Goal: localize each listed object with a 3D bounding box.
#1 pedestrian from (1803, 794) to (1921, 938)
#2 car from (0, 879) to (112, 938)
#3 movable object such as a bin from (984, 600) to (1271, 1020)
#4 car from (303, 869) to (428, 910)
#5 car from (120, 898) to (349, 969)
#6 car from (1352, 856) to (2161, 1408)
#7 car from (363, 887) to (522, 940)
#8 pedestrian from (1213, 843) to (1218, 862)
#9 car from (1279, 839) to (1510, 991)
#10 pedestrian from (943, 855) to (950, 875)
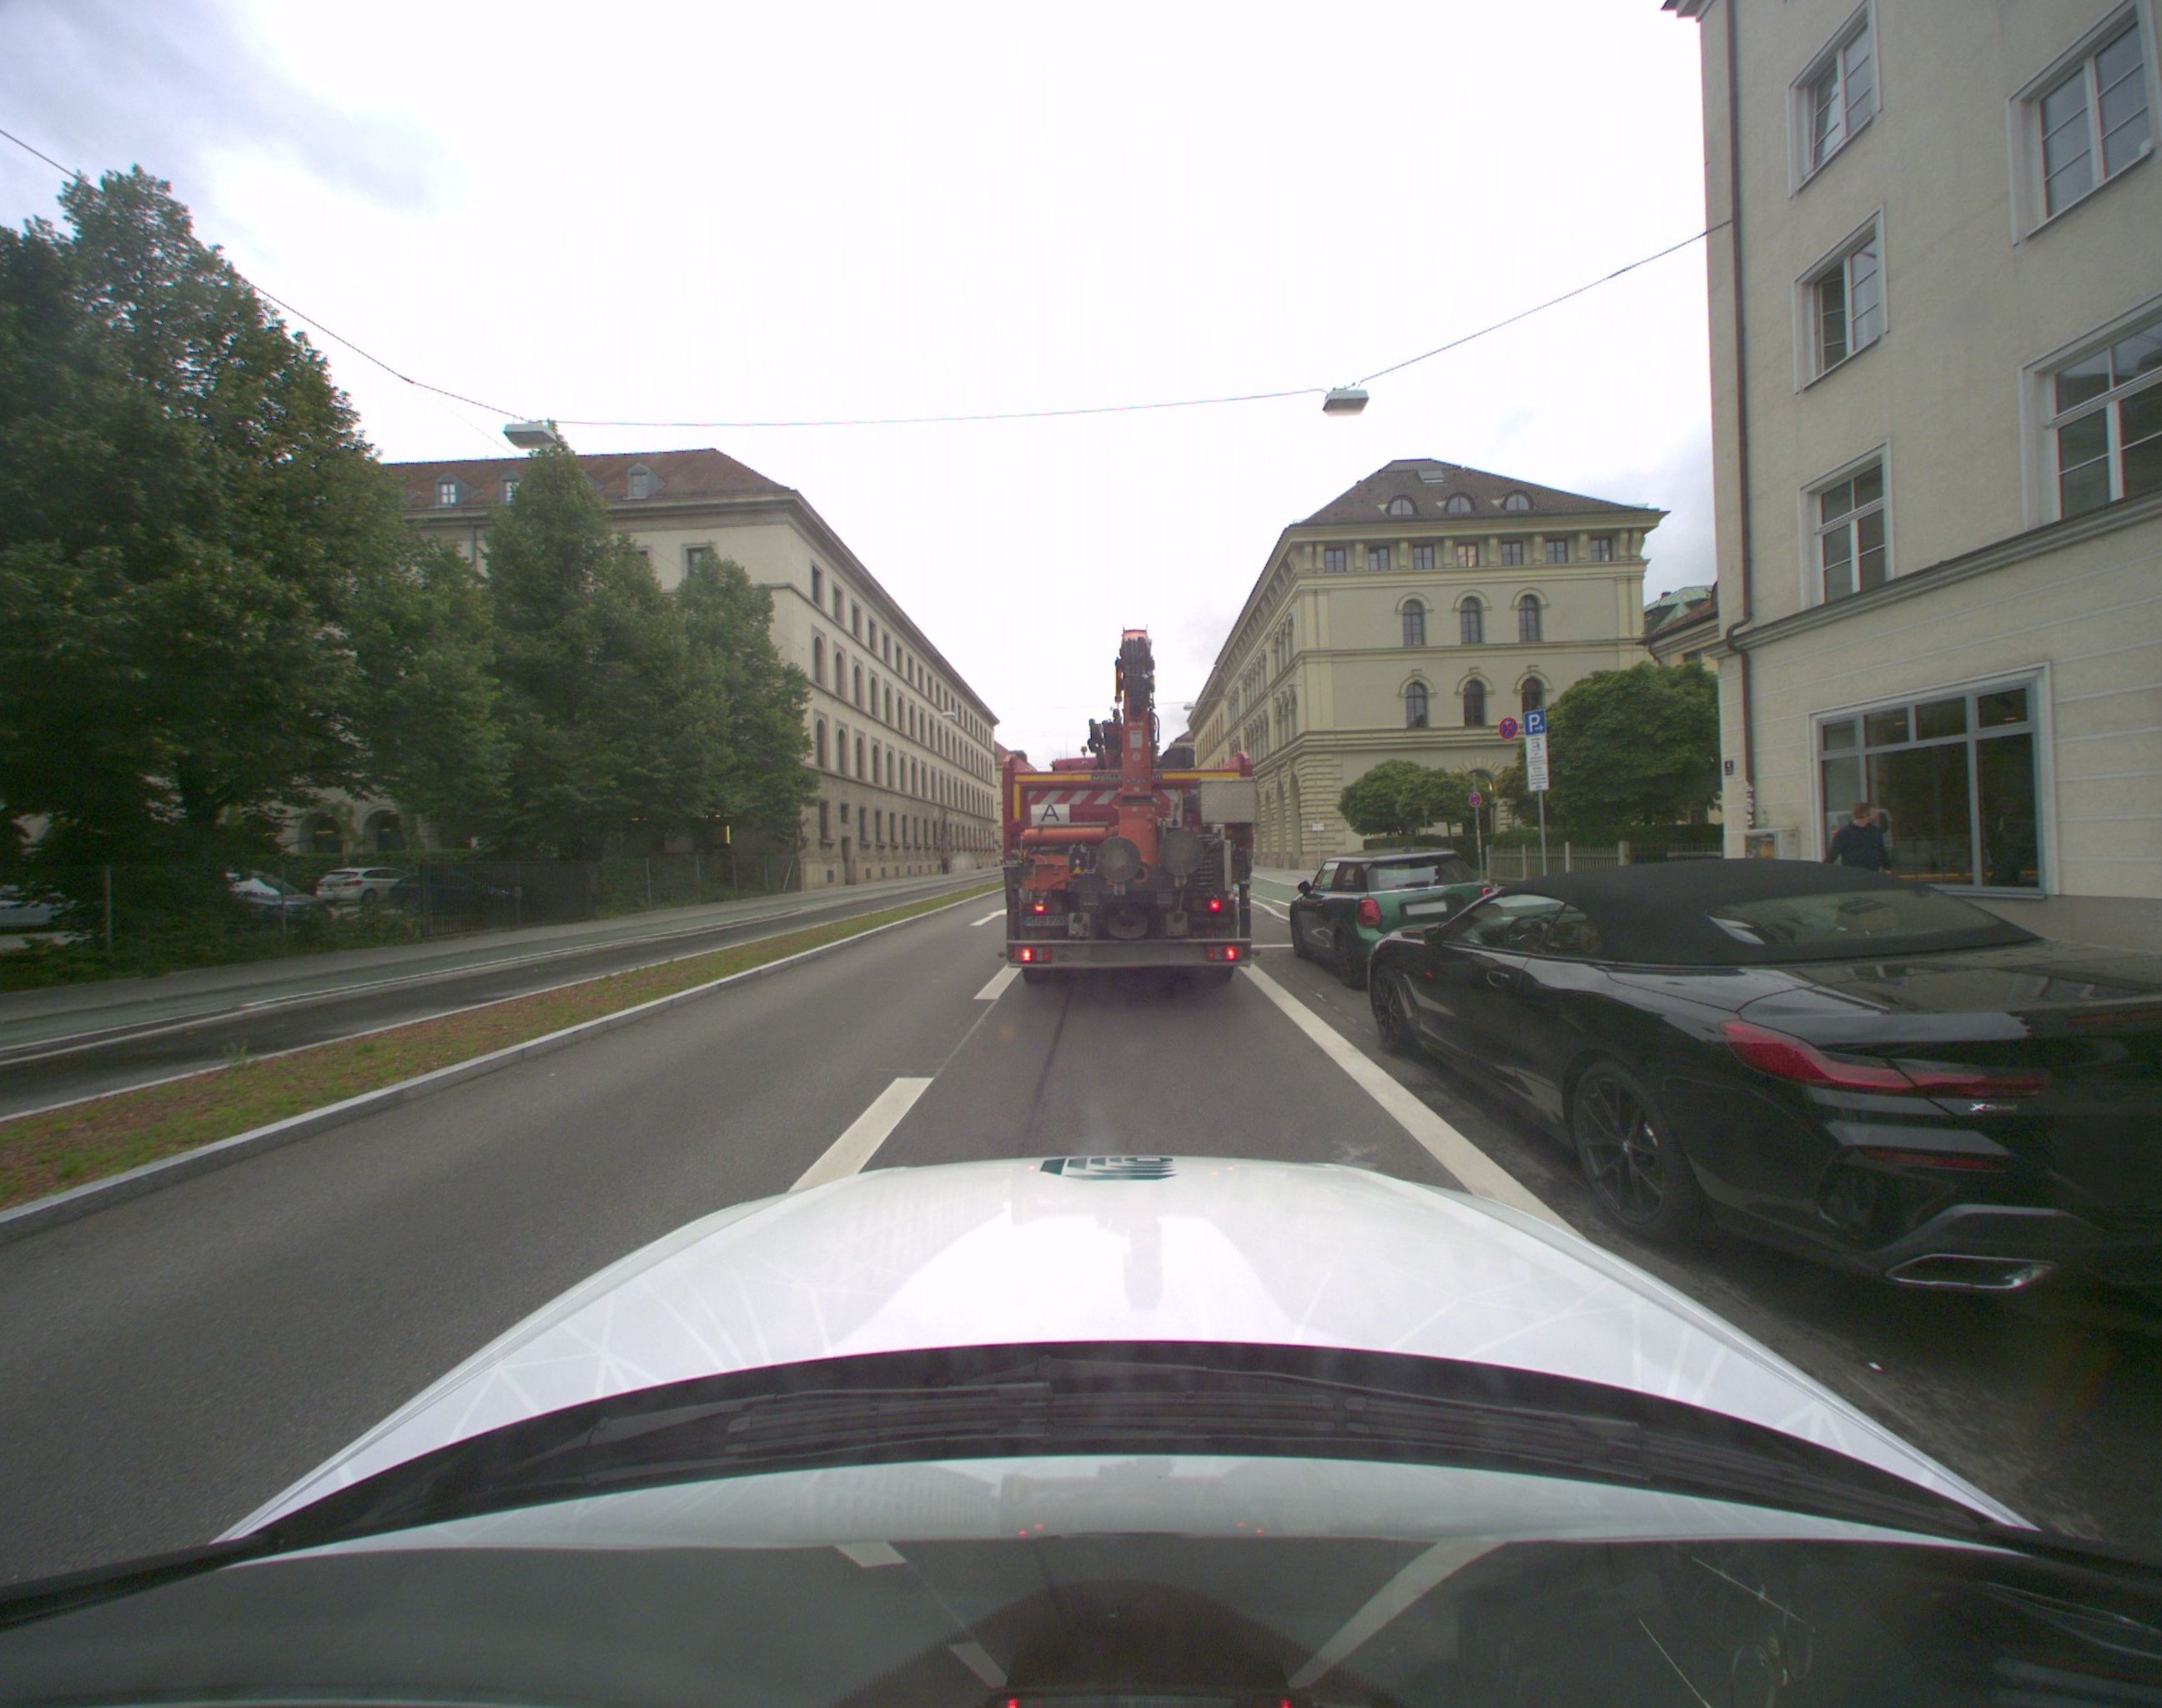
[{"bbox_3d":[10.485,0.154,10.963,0.787,1.836,0.778,-2,0,3],"label":"pedestrian"},{"bbox_3d":[-31.383,1.600,23.467,1.824,1.545,4.178,-1,0,1],"label":"car"},{"bbox_3d":[0.481,-0.391,10.046,2.414,3.611,5.853,-1,0,1],"label":"movable object such as a bin"},{"bbox_3d":[-30.779,1.490,35.213,1.824,1.545,3.941,-1,0,1],"label":"car"},{"bbox_3d":[-21.607,1.997,20.909,3.914,1.545,1.836,-1,0,0],"label":"car"},{"bbox_3d":[2.936,0.735,4.328,1.673,1.386,4.429,-1,0,2],"label":"car"},{"bbox_3d":[-21.678,1.997,27.747,3.914,1.545,1.836,-1,0,0],"label":"car"},{"bbox_3d":[13.552,-0.141,82.048,0.444,1.836,0.556,-2,0,4],"label":"pedestrian"},{"bbox_3d":[3.620,0.619,10.041,1.604,1.495,3.426,-2,0,2],"label":"car"},{"bbox_3d":[-12.318,0.992,74.561,0.586,1.831,0.499,-1,0,1],"label":"pedestrian"}]
